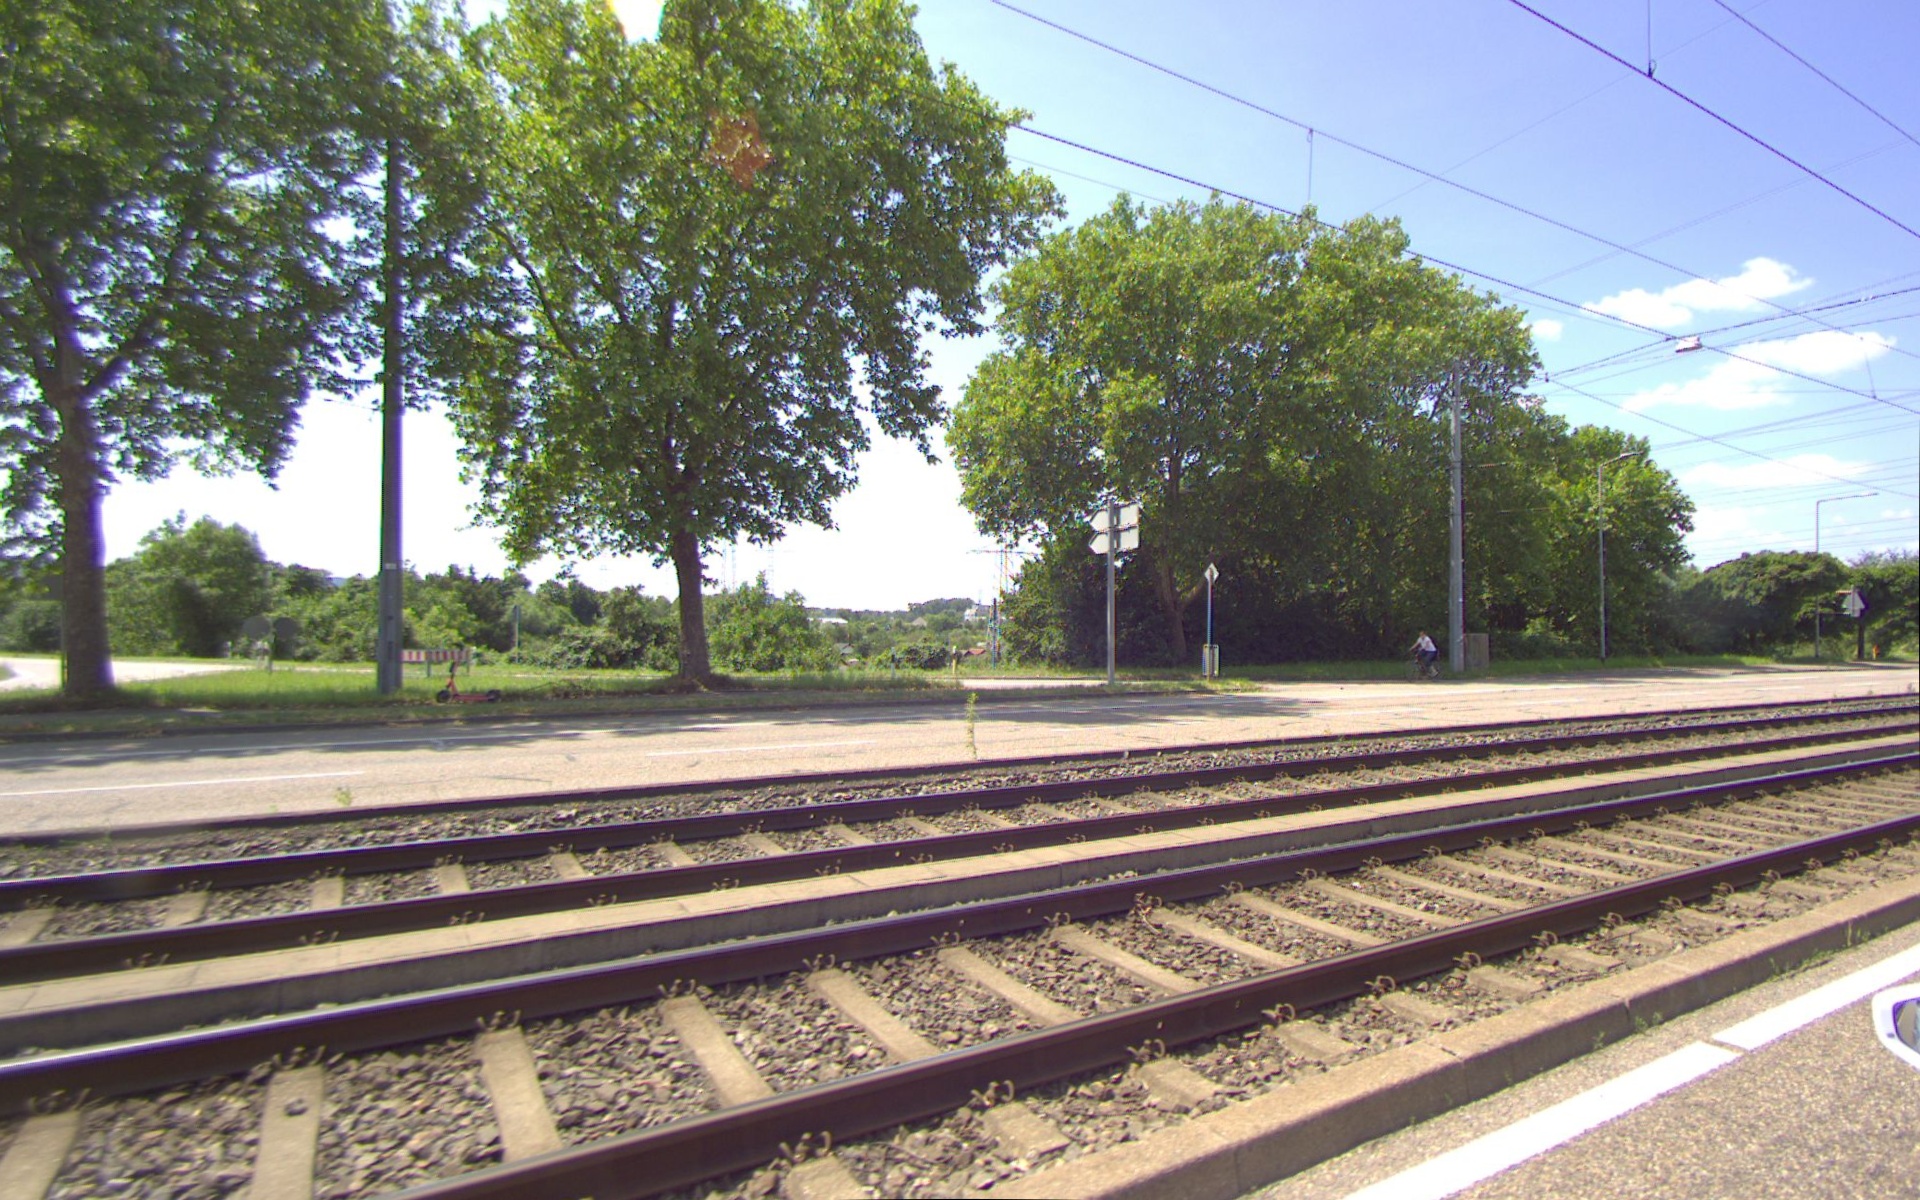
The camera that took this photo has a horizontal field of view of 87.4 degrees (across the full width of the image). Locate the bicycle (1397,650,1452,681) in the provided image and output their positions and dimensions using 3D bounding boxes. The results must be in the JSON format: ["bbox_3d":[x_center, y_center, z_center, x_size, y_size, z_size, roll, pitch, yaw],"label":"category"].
[{"bbox_3d":[15.354,2.145,33.176,2.068,0.952,0.618,1,-1,-32],"label":"bicycle"}]

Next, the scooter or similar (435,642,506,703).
[{"bbox_3d":[-9.755,1.424,20.030,1.222,1.166,0.458,1,0,-33],"label":"scooter or similar"}]

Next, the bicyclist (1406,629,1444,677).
[{"bbox_3d":[15.338,1.733,33.160,1.147,1.538,0.618,1,-1,-32],"label":"bicyclist"}]
